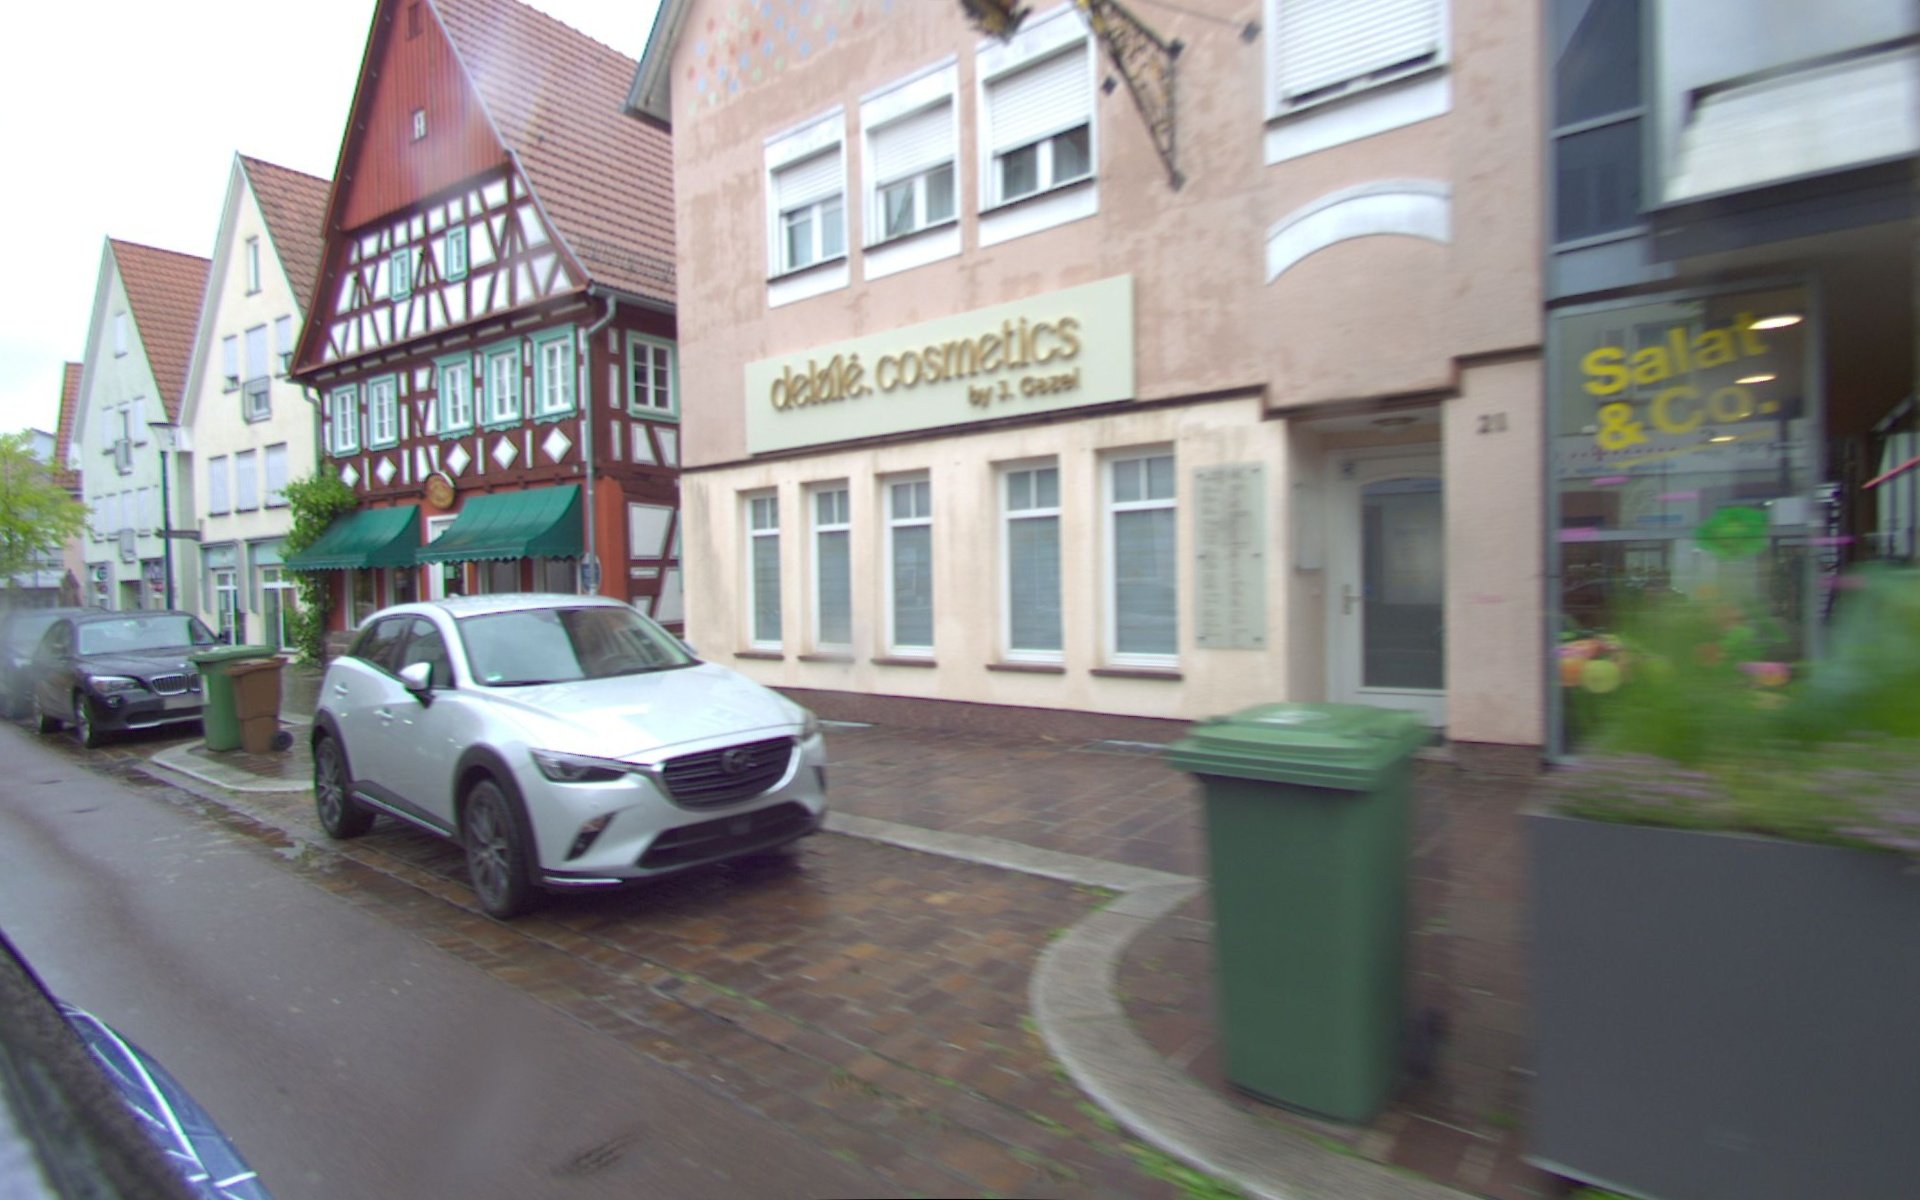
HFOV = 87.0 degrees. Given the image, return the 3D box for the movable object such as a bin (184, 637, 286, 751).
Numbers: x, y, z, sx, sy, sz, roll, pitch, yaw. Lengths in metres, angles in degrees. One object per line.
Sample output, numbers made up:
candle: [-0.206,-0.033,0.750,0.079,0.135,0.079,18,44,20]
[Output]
movable object such as a bin: [-7.663,0.965,10.698,0.763,1.090,0.739,0,1,43]

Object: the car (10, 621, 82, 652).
car: [-56.972,2.251,63.169,1.666,1.702,4.292,-1,1,-18]

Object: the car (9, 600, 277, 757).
car: [-10.616,0.859,13.043,4.278,1.563,1.815,0,4,40]

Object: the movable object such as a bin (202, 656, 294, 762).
movable object such as a bin: [-7.183,1.080,10.209,0.562,0.962,0.649,0,1,43]

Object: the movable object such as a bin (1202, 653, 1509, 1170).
movable object such as a bin: [1.123,0.738,2.817,0.609,1.114,0.807,0,1,36]

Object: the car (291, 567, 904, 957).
car: [-2.386,0.637,6.110,3.999,1.578,1.808,0,1,42]

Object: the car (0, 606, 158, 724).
car: [-15.251,0.973,17.088,4.537,1.687,1.815,0,1,40]

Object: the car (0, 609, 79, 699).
car: [-20.473,1.097,21.766,4.479,1.687,1.753,0,3,43]
